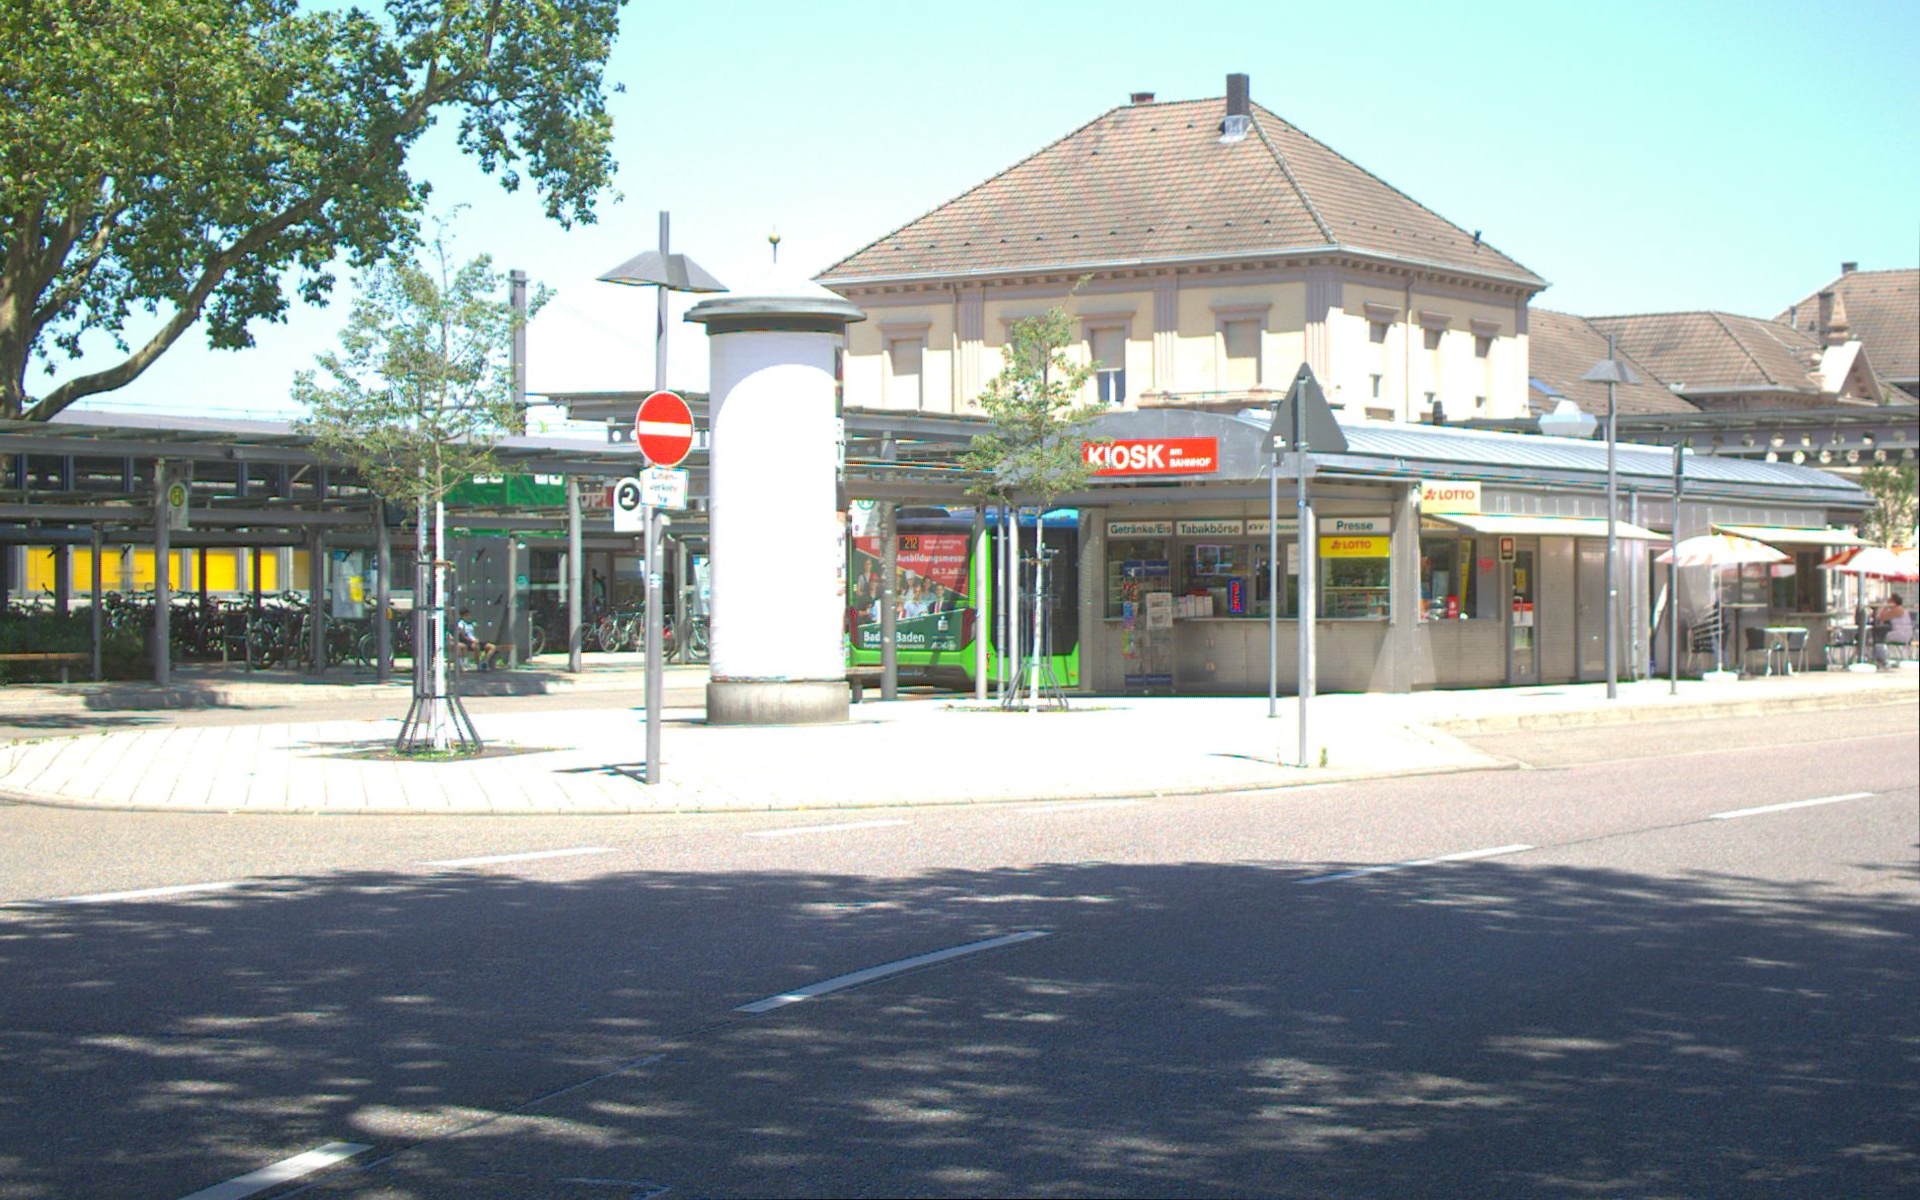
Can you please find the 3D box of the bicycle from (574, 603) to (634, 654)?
[{"bbox_3d":[-7.657,0.617,73.926,1.384,1.090,0.385,0,0,36],"label":"bicycle"}]

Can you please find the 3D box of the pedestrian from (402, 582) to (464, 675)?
[{"bbox_3d":[-9.297,0.507,60.621,0.820,1.612,0.768,0,-1,15],"label":"pedestrian"}]

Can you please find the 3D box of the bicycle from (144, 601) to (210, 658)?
[{"bbox_3d":[-15.036,0.567,66.016,1.384,1.090,0.385,0,-2,36],"label":"bicycle"}]

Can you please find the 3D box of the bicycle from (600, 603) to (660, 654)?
[{"bbox_3d":[-7.172,0.612,74.624,1.384,1.090,0.385,0,0,36],"label":"bicycle"}]

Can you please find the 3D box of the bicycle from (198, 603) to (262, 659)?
[{"bbox_3d":[-14.249,0.607,67.096,1.384,1.090,0.385,0,-2,36],"label":"bicycle"}]

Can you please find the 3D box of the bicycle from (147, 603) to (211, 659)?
[{"bbox_3d":[-15.429,0.613,67.924,1.384,1.090,0.385,0,-2,36],"label":"bicycle"}]

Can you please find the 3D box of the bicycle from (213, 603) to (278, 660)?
[{"bbox_3d":[-14.017,0.619,67.439,1.384,1.090,0.385,0,-2,36],"label":"bicycle"}]

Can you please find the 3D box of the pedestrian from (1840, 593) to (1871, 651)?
[{"bbox_3d":[26.189,0.646,100.492,0.654,1.667,0.631,1,-2,-12],"label":"pedestrian"}]

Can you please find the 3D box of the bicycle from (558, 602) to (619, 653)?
[{"bbox_3d":[-7.934,0.582,73.484,1.404,1.096,0.366,0,0,36],"label":"bicycle"}]

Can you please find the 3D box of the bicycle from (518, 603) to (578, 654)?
[{"bbox_3d":[-8.959,0.611,74.789,1.384,1.090,0.385,0,0,34],"label":"bicycle"}]

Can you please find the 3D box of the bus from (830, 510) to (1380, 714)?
[{"bbox_3d":[2.848,0.224,57.714,2.679,3.031,13.866,0,-1,32],"label":"bus"}]

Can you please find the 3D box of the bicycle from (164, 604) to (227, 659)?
[{"bbox_3d":[-15.182,0.626,68.273,1.384,1.090,0.385,0,-2,36],"label":"bicycle"}]

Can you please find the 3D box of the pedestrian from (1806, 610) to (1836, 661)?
[{"bbox_3d":[16.570,0.681,66.175,0.371,0.969,0.426,2,-2,-43],"label":"pedestrian"}]

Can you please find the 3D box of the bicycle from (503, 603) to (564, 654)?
[{"bbox_3d":[-9.227,0.623,74.385,1.384,1.090,0.385,0,1,33],"label":"bicycle"}]

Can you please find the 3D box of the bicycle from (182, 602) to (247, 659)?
[{"bbox_3d":[-14.477,0.595,66.758,1.384,1.090,0.385,0,-2,36],"label":"bicycle"}]

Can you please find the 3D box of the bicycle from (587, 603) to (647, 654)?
[{"bbox_3d":[-7.415,0.609,74.278,1.384,1.090,0.385,0,0,36],"label":"bicycle"}]

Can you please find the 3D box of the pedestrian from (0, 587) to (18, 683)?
[{"bbox_3d":[-14.903,0.537,52.473,0.606,1.459,0.820,0,0,31],"label":"pedestrian"}]

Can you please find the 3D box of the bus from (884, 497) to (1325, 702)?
[{"bbox_3d":[3.004,-0.015,64.624,2.166,3.514,12.199,0,0,34],"label":"bus"}]

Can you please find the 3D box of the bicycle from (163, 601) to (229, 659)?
[{"bbox_3d":[-14.758,0.581,66.388,1.384,1.090,0.385,0,-2,35],"label":"bicycle"}]
